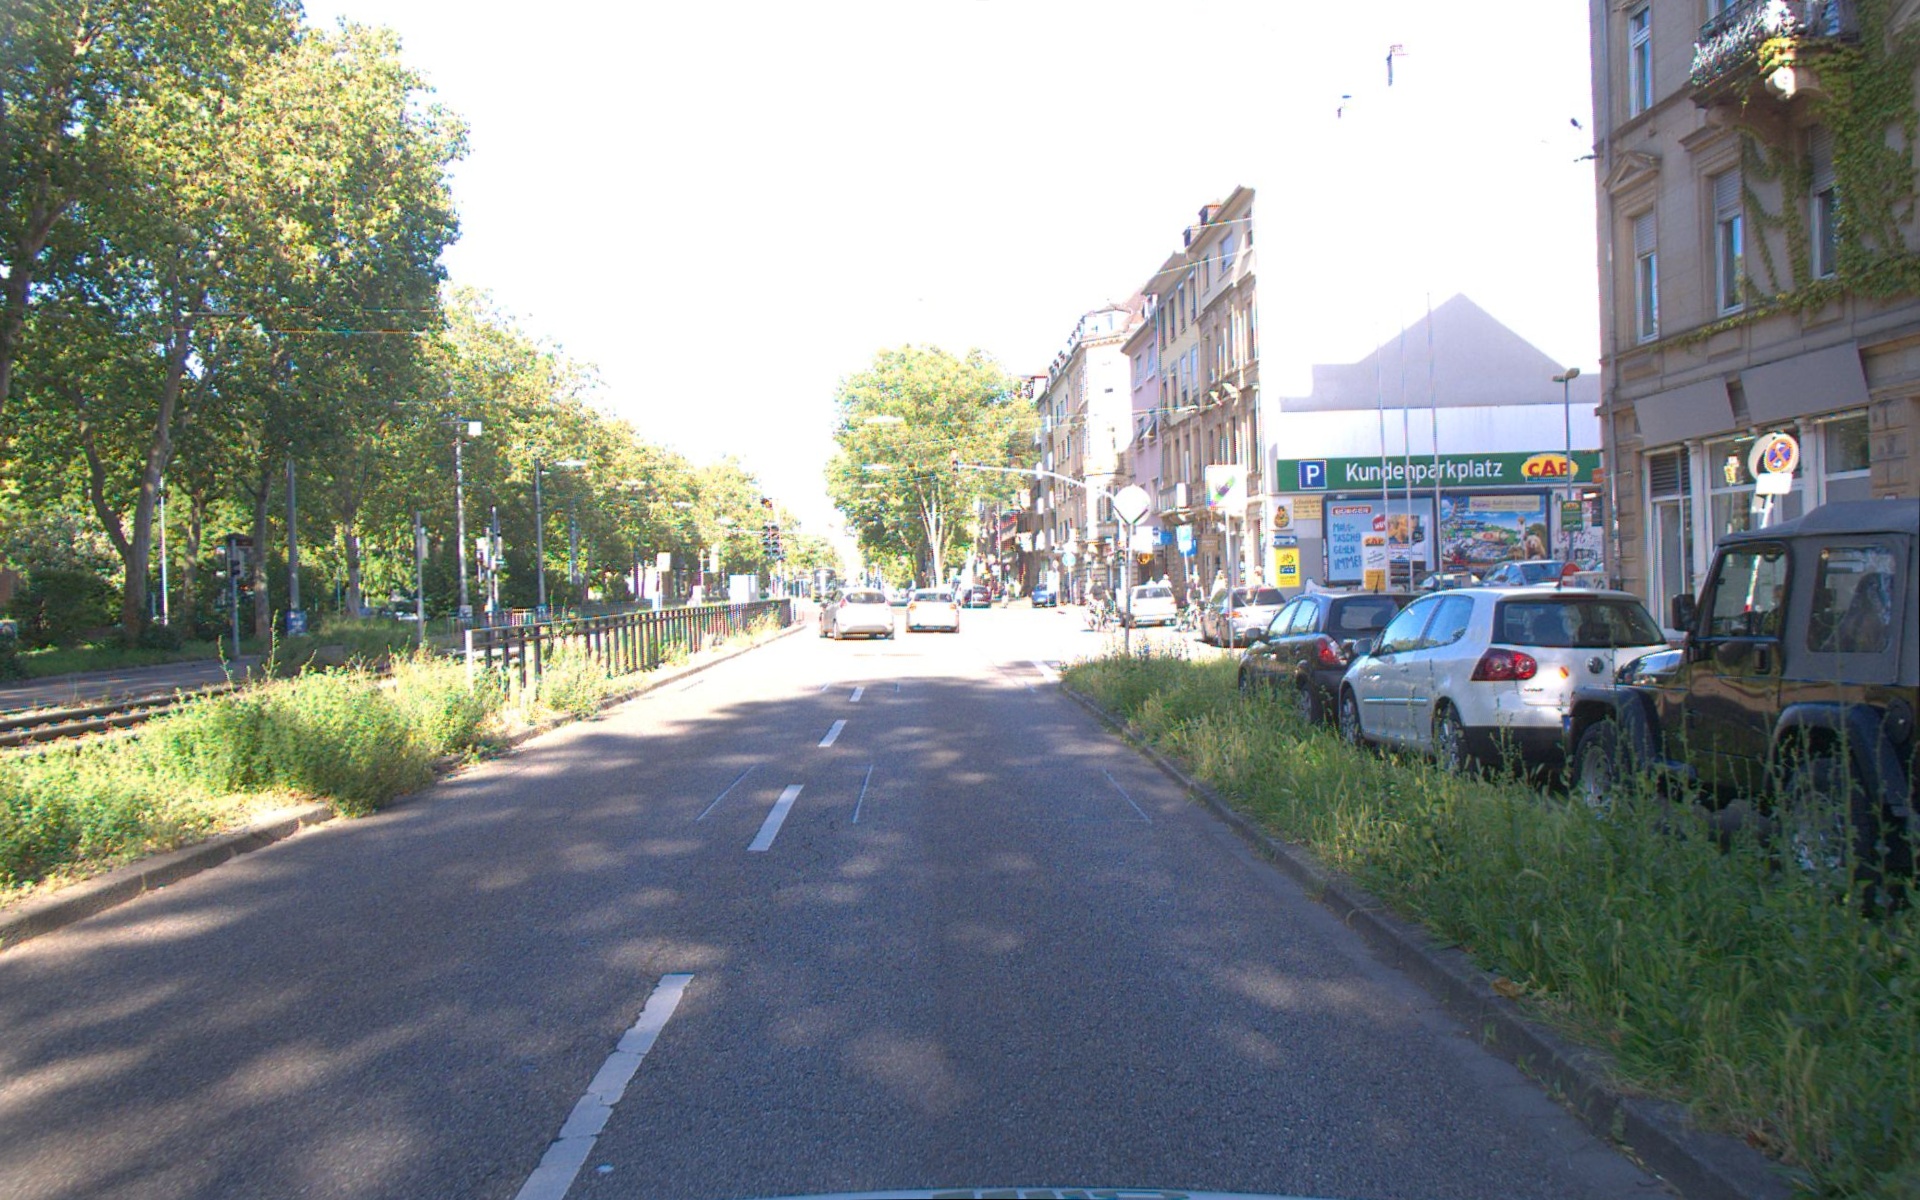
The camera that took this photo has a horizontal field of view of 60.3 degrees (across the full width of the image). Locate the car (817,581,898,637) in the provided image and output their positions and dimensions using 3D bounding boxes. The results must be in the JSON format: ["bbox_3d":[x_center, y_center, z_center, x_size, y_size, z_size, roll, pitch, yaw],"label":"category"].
[{"bbox_3d":[-2.953,0.224,47.165,1.582,1.493,3.875,-2,1,-14],"label":"car"}]

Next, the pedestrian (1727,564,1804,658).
[{"bbox_3d":[11.265,0.150,23.142,0.701,1.283,0.713,-1,0,-2],"label":"pedestrian"}]

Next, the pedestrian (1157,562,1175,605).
[{"bbox_3d":[8.845,-0.702,71.036,0.659,1.838,0.530,-2,0,-2],"label":"pedestrian"}]

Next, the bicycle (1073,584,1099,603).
[{"bbox_3d":[6.397,-0.334,83.846,0.642,0.919,1.331,-1,1,40],"label":"bicycle"}]

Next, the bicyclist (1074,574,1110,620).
[{"bbox_3d":[4.381,-0.098,54.756,0.935,1.487,0.742,0,0,42],"label":"bicyclist"}]

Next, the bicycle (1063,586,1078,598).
[{"bbox_3d":[7.499,-0.533,112.147,0.739,0.784,1.944,-1,1,-3],"label":"bicycle"}]

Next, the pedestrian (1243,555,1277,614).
[{"bbox_3d":[9.723,-0.513,53.614,0.749,1.873,0.744,-2,0,-20],"label":"pedestrian"}]

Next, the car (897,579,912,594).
[{"bbox_3d":[-7.913,-1.905,235.238,1.953,2.049,3.999,-2,1,-1],"label":"car"}]

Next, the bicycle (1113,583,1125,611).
[{"bbox_3d":[6.782,-0.134,70.442,0.439,1.179,1.759,-1,1,4],"label":"bicycle"}]

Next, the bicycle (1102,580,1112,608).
[{"bbox_3d":[6.303,-0.252,70.810,0.405,1.160,1.810,-1,1,5],"label":"bicycle"}]

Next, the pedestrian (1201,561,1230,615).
[{"bbox_3d":[8.508,-0.401,55.052,0.749,1.786,0.510,-2,0,-22],"label":"pedestrian"}]

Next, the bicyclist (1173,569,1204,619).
[{"bbox_3d":[7.052,-0.192,51.094,0.663,1.470,1.181,-5,1,-1],"label":"bicyclist"}]

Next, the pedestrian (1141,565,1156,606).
[{"bbox_3d":[8.090,-0.629,71.052,0.538,1.738,0.388,-2,0,1],"label":"pedestrian"}]

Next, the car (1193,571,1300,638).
[{"bbox_3d":[7.365,0.086,42.944,1.796,1.512,4.733,-4,1,-1],"label":"car"}]

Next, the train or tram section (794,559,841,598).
[{"bbox_3d":[-15.165,-2.299,177.877,3.889,3.933,17.484,-1,1,-1],"label":"train or tram section"}]

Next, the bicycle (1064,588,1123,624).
[{"bbox_3d":[4.408,0.200,54.744,0.753,1.121,1.921,-2,1,-45],"label":"bicycle"}]

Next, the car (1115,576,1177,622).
[{"bbox_3d":[6.483,-0.068,58.033,1.531,1.440,4.003,-5,1,-1],"label":"car"}]

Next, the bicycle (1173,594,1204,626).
[{"bbox_3d":[7.034,0.313,51.060,0.636,0.936,1.917,-2,1,-1],"label":"bicycle"}]

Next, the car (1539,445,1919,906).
[{"bbox_3d":[4.601,0.246,8.383,1.826,1.794,3.999,-2,1,-1],"label":"car"}]

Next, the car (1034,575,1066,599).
[{"bbox_3d":[5.857,-0.838,107.925,1.700,1.546,3.635,0,1,-2],"label":"car"}]

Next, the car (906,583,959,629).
[{"bbox_3d":[-0.945,0.172,55.027,1.705,1.493,3.999,0,1,-2],"label":"car"}]

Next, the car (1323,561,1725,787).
[{"bbox_3d":[4.341,0.499,13.423,1.704,1.544,3.997,1,0,-3],"label":"car"}]

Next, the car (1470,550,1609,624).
[{"bbox_3d":[14.254,-0.317,40.908,1.711,1.673,3.996,-2,0,-5],"label":"car"}]

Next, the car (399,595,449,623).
[{"bbox_3d":[-30.678,0.496,94.799,1.636,1.536,4.143,-1,1,-3],"label":"car"}]

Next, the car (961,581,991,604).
[{"bbox_3d":[1.014,-0.506,105.828,1.701,1.458,3.676,0,1,-3],"label":"car"}]

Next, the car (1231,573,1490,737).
[{"bbox_3d":[4.157,0.507,17.790,1.608,1.544,3.997,1,0,-3],"label":"car"}]
